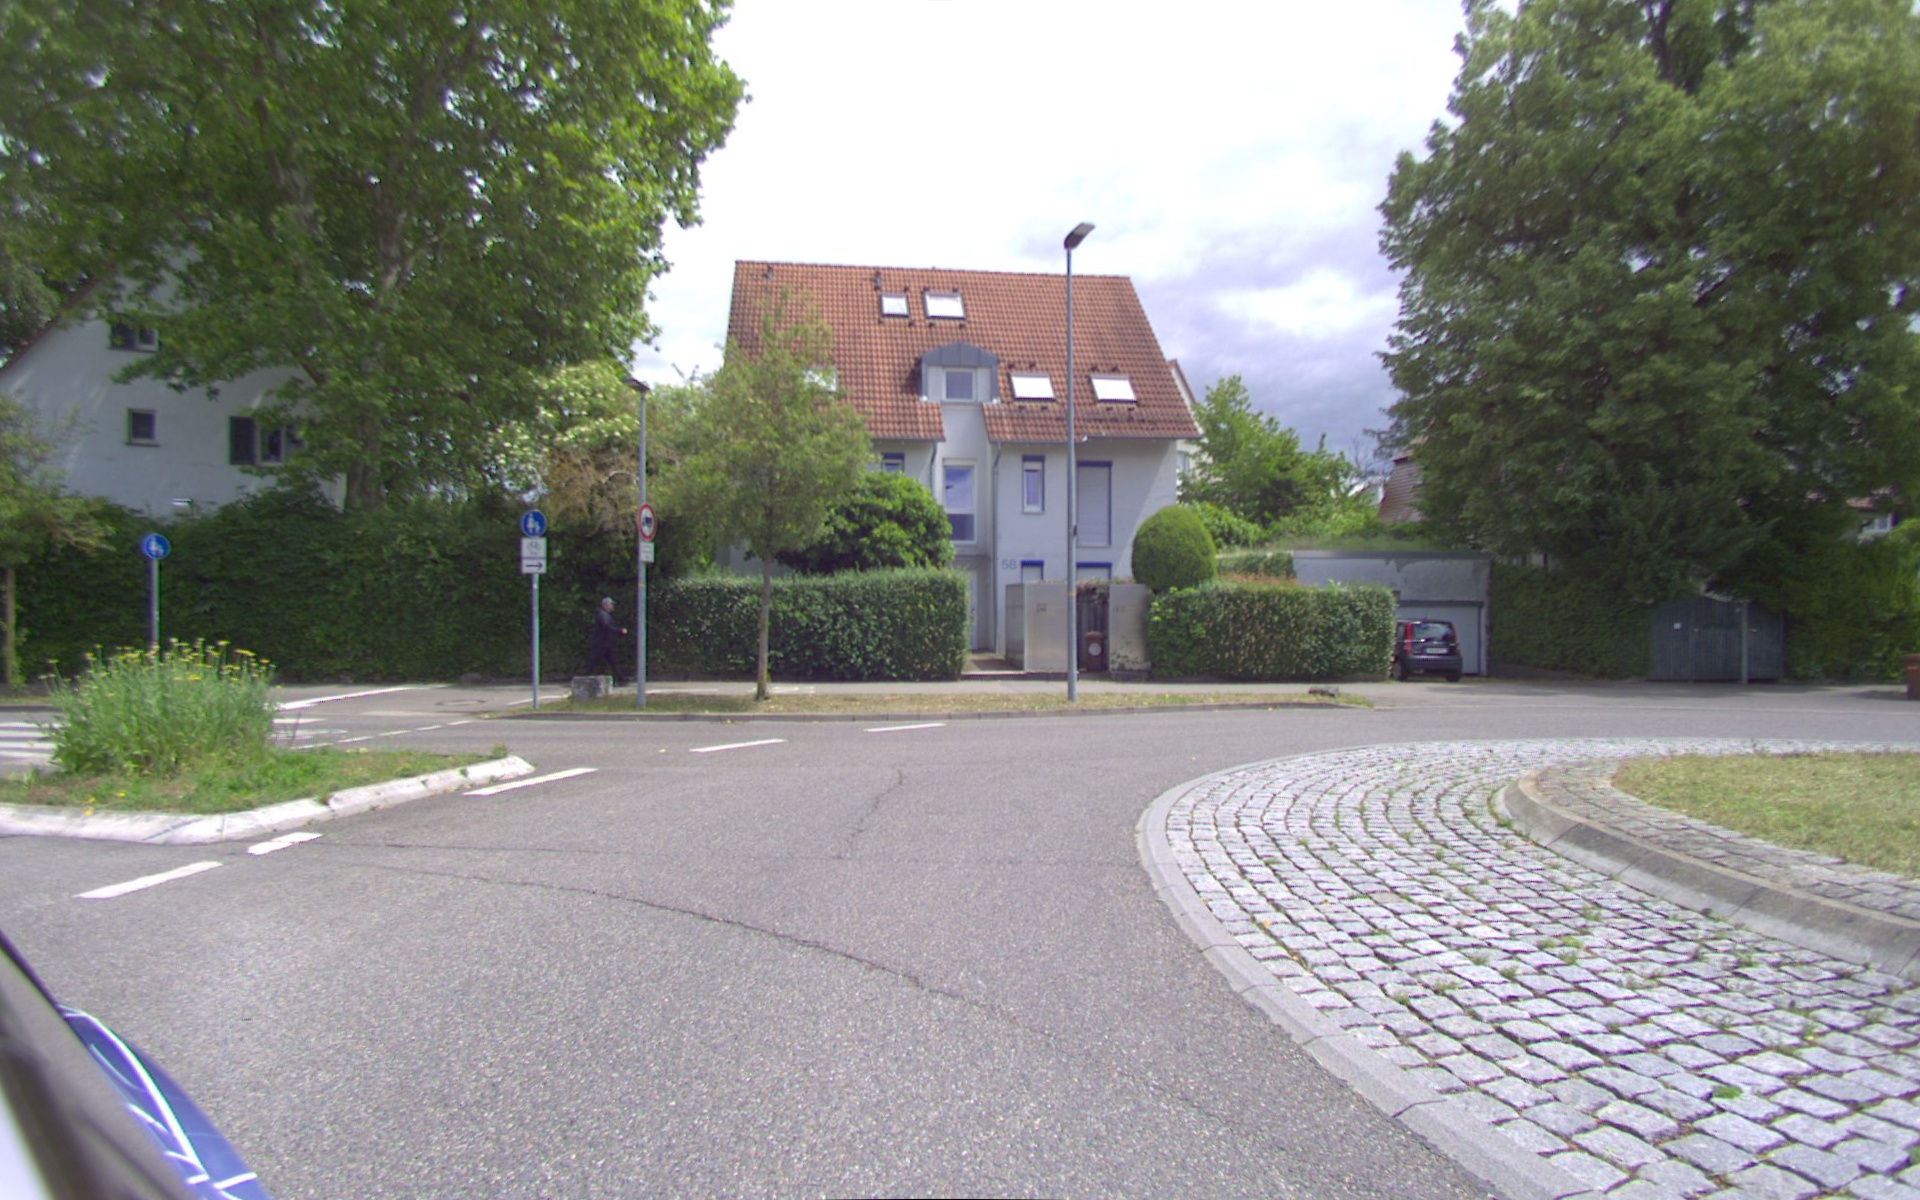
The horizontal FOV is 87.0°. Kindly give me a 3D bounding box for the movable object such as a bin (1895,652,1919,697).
[{"bbox_3d":[19.091,1.475,19.996,0.632,0.870,0.631,0,-2,4],"label":"movable object such as a bin"}]

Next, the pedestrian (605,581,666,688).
[{"bbox_3d":[-6.293,0.668,19.673,1.024,2.029,0.876,0,-2,-11],"label":"pedestrian"}]

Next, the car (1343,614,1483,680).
[{"bbox_3d":[11.189,1.128,25.301,1.975,1.497,3.993,0,-1,5],"label":"car"}]
